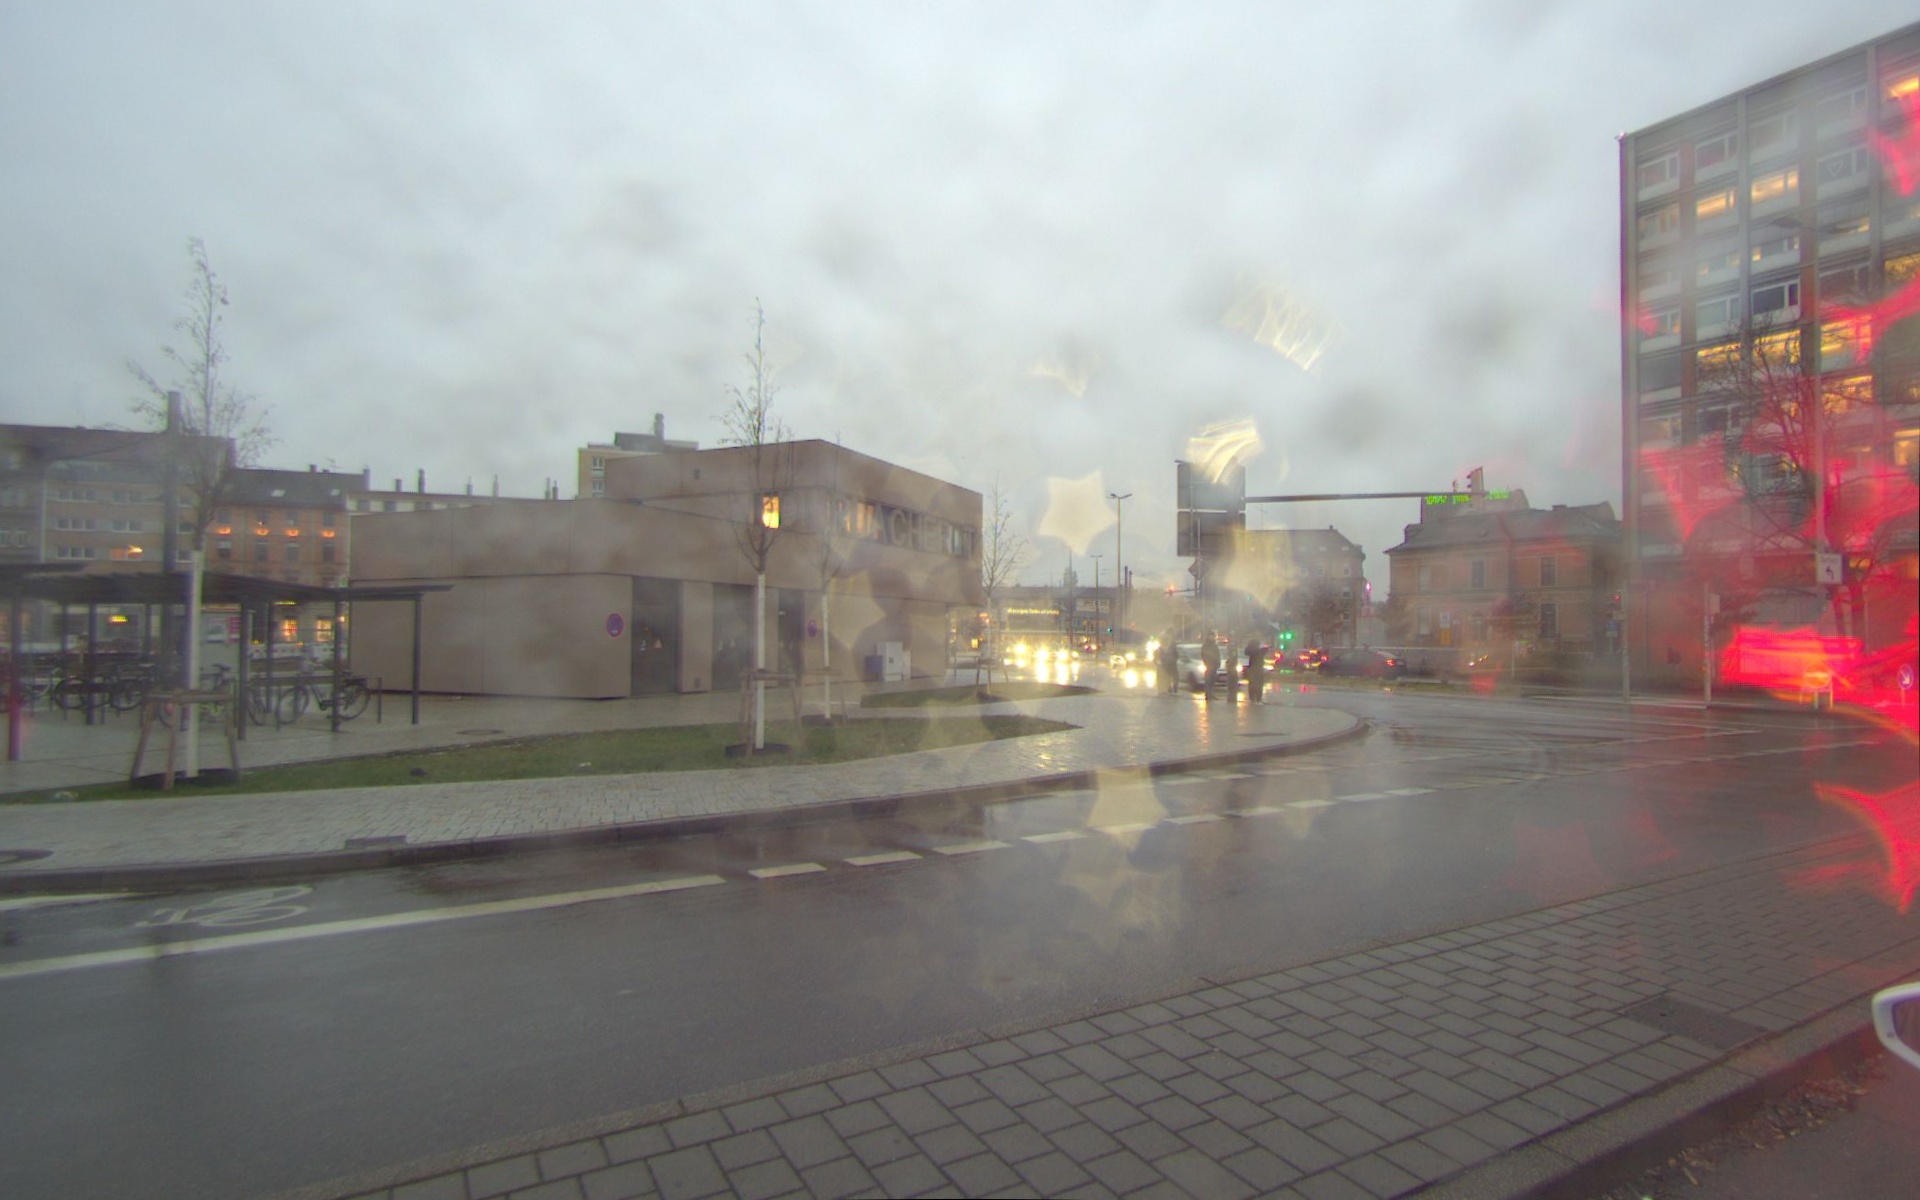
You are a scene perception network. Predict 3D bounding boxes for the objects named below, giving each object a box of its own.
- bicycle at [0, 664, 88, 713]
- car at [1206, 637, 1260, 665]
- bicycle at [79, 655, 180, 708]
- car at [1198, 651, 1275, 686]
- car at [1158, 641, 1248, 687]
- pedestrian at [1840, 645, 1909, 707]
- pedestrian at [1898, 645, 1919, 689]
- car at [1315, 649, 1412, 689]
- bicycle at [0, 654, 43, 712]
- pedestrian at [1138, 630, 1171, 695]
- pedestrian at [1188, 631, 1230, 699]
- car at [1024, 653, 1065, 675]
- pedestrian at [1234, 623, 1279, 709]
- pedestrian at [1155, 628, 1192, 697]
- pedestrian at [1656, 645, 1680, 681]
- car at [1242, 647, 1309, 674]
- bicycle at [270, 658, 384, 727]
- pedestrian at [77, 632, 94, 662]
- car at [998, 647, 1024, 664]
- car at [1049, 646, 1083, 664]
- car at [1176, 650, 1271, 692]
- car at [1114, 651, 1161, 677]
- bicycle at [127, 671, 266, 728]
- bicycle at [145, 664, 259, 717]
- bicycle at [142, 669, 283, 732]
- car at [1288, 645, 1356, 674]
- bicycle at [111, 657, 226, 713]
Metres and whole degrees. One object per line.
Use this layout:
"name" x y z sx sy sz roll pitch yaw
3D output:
"bicycle" -18.506 1.743 19.984 0.466 0.903 1.693 1 -2 24
"car" 19.622 3.673 72.347 3.514 1.850 1.672 2 0 8
"bicycle" -17.684 1.721 21.427 0.511 1.050 1.574 1 -2 19
"car" 12.863 3.167 46.990 1.778 1.496 4.587 1 -3 -8
"car" 8.225 2.194 34.344 1.713 1.467 3.710 0 -4 -9
"pedestrian" 28.719 2.364 31.560 1.117 1.867 1.004 -2 -2 -2
"pedestrian" 36.135 2.519 38.001 0.548 1.649 0.760 0 -2 -15
"car" 19.331 3.271 48.229 1.809 1.589 3.959 2 0 -36
"bicycle" -19.391 1.643 19.833 0.466 1.122 1.797 1 -2 29
"pedestrian" 5.452 1.753 28.182 0.544 1.793 0.734 2 -3 -43
"pedestrian" 6.589 1.717 26.623 0.838 1.778 0.659 0 -2 -14
"car" 5.980 4.530 71.673 1.778 1.496 4.586 1 -3 -10
"pedestrian" 7.202 1.589 24.378 0.971 2.047 0.802 -1 -2 19
"pedestrian" 5.873 1.696 27.605 0.671 1.863 0.726 2 -3 -42
"pedestrian" 34.201 3.023 48.509 0.626 1.710 0.640 0 -2 -13
"car" 20.091 3.823 63.972 3.741 1.502 1.602 2 0 -1
"bicycle" -11.747 1.686 18.713 0.605 1.172 1.755 1 -2 20
"pedestrian" -60.844 3.286 69.864 0.695 2.040 0.586 0 -2 -21
"car" 4.893 5.409 97.524 1.742 1.598 3.995 0 -2 -8
"car" 8.797 4.557 83.573 1.778 1.496 4.667 1 -3 -8
"car" 10.706 2.887 41.228 1.905 1.572 4.690 1 -3 -11
"car" 10.898 3.897 61.862 1.777 1.496 3.965 1 -3 -6
"bicycle" -13.584 1.748 17.945 0.466 0.903 1.923 1 -2 29
"bicycle" -15.178 1.789 20.168 0.466 0.968 1.767 1 -2 29
"bicycle" -12.933 1.713 17.453 0.466 0.989 1.923 1 -2 29
"car" 20.904 3.424 58.071 3.364 1.481 1.515 2 0 -1
"bicycle" -16.528 1.747 21.033 0.466 1.087 1.830 1 -2 26
